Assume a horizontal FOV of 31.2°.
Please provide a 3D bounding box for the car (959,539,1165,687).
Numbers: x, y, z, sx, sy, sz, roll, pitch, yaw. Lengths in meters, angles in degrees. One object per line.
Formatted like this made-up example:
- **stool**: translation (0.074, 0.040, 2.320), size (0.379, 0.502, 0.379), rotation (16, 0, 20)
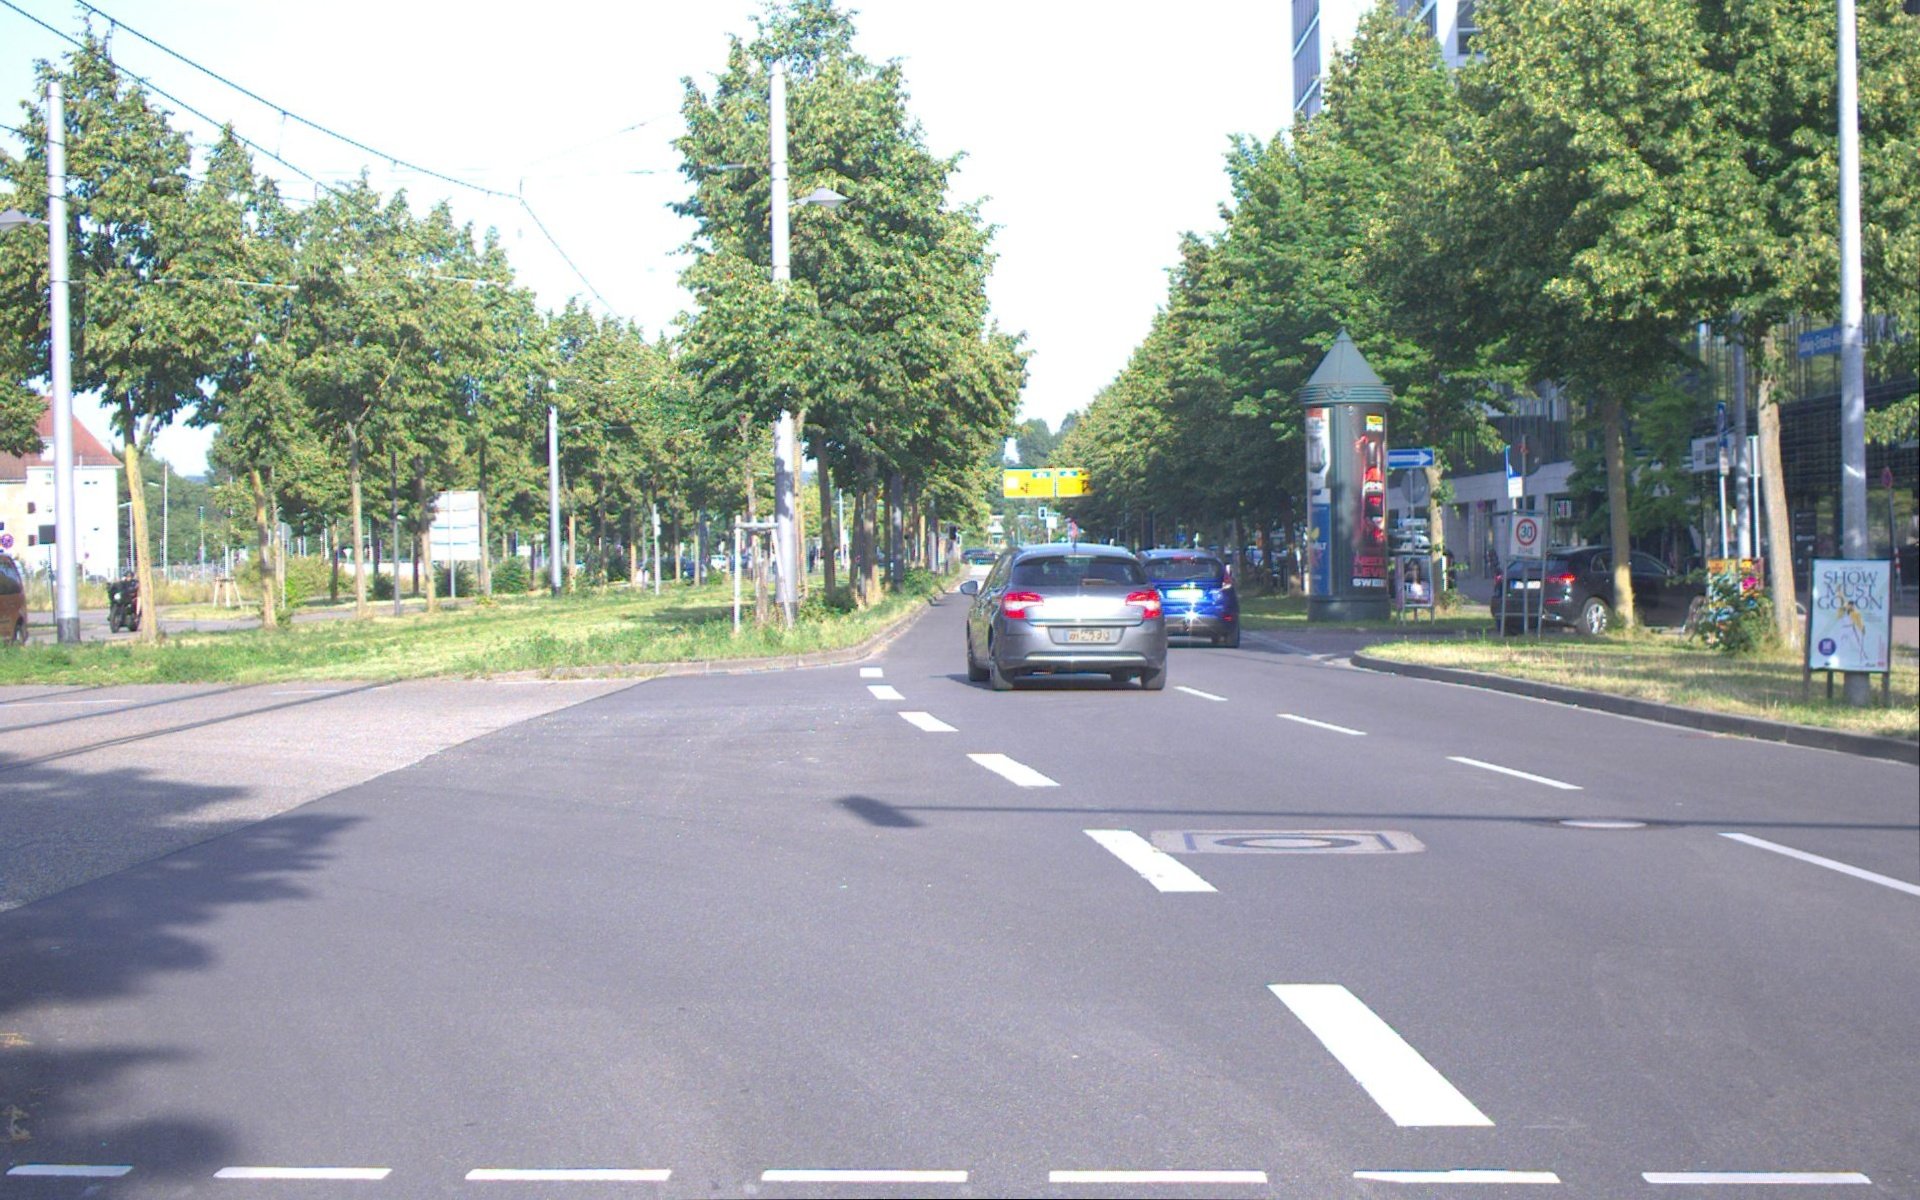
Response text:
- **car**: translation (0.995, 0.107, 35.463), size (1.694, 1.419, 4.040), rotation (1, 1, -4)

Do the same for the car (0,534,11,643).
- **car**: translation (-16.342, -0.188, 54.540), size (1.684, 1.769, 3.883), rotation (1, 1, -3)

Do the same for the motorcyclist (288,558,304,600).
- **motorcyclist**: translation (-24.670, -0.789, 127.758), size (0.485, 1.559, 0.455), rotation (1, 0, -1)

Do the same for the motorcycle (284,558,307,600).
- **motorcycle**: translation (-24.673, -0.778, 127.653), size (0.473, 1.525, 1.993), rotation (1, 1, -1)

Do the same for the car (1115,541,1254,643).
- **car**: translation (3.326, -0.149, 51.559), size (1.560, 1.419, 3.908), rotation (1, 1, -4)

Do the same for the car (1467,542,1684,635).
- **car**: translation (9.799, -0.184, 54.555), size (1.778, 1.419, 3.952), rotation (1, 1, 37)
